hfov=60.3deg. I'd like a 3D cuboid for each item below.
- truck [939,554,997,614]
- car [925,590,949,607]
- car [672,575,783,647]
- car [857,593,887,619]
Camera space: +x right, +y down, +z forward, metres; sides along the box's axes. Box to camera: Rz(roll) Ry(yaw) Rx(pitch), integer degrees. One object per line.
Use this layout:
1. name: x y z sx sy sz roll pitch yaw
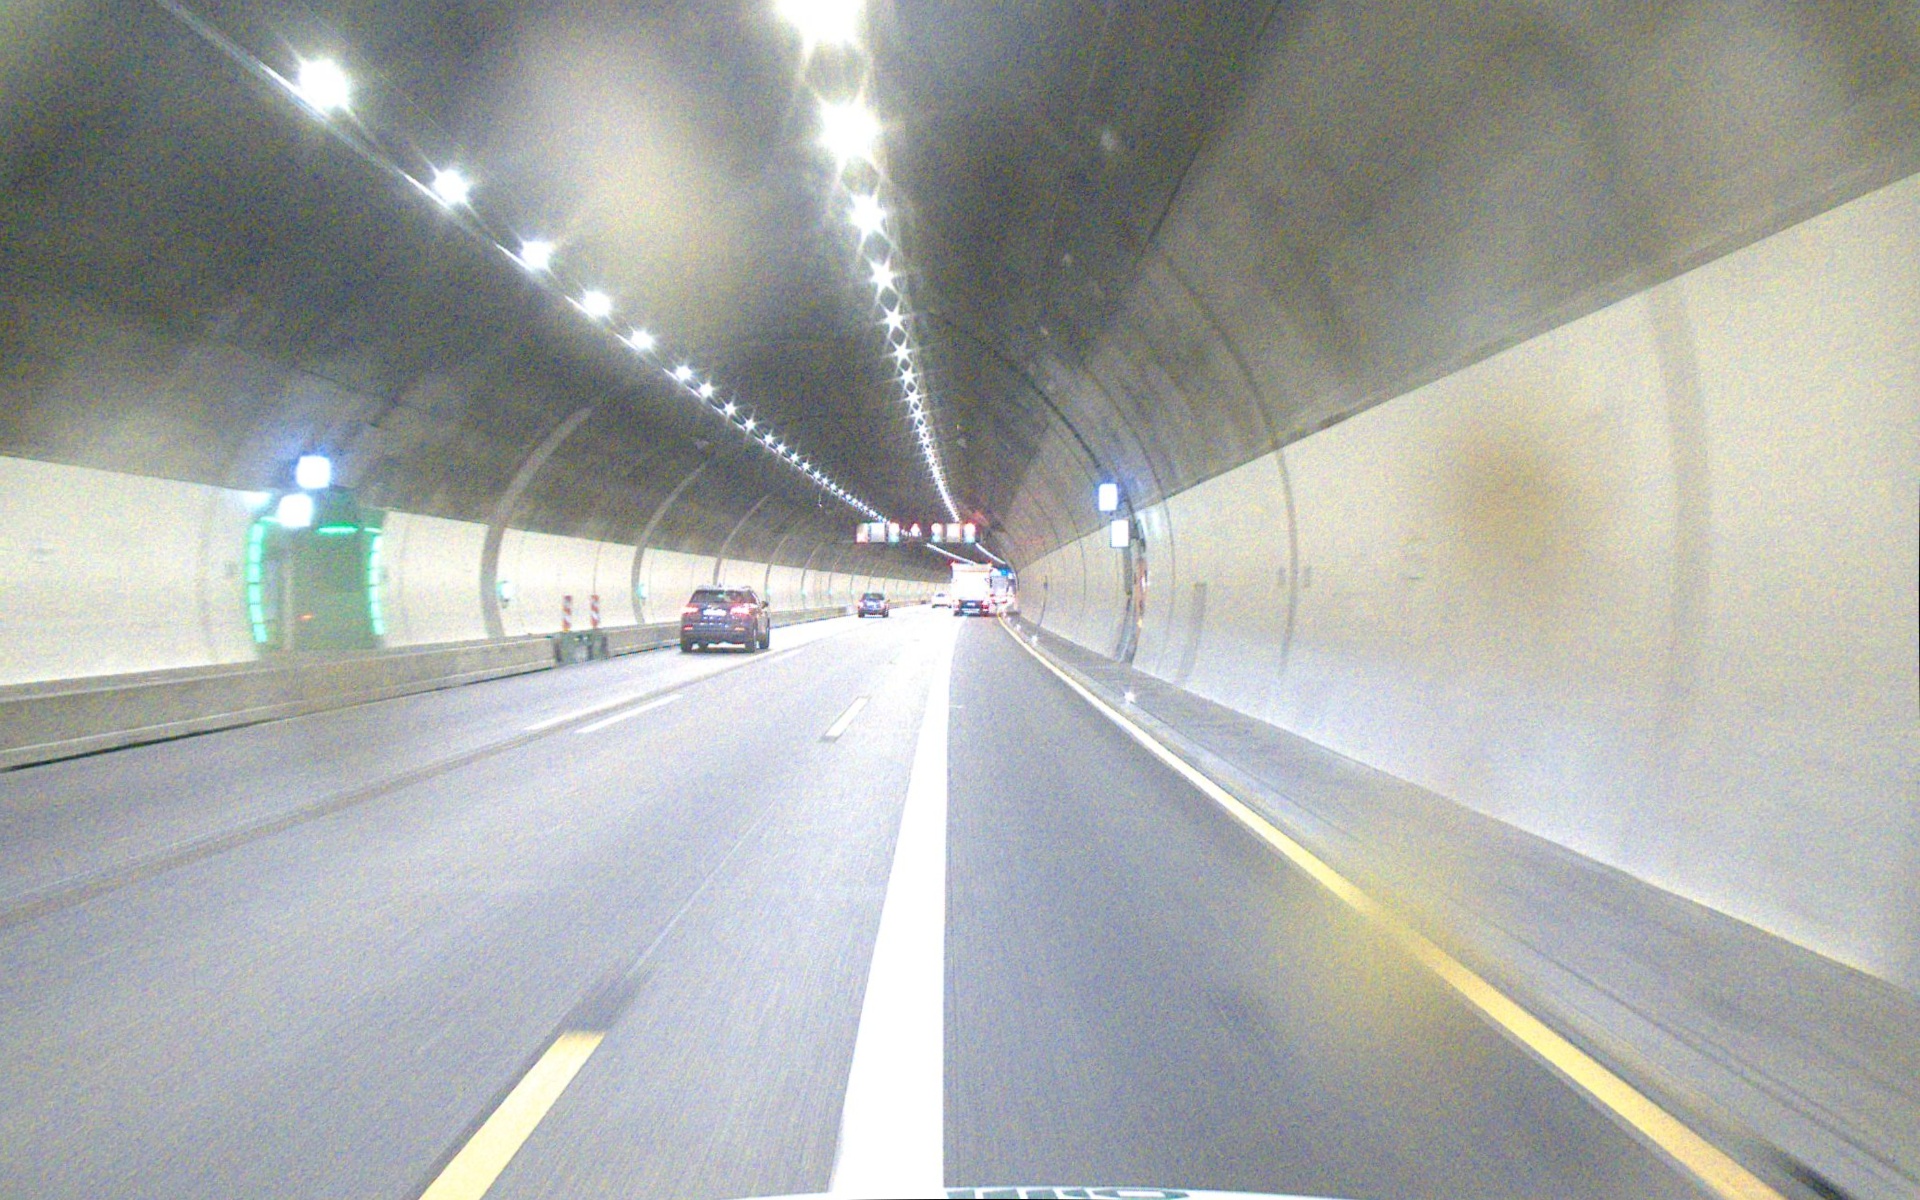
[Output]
1. truck: 0.450 -1.051 113.828 3.520 3.714 10.719 3 0 -1
2. car: -2.140 -0.149 157.666 1.952 1.437 4.744 3 0 2
3. car: -5.695 0.284 41.061 1.953 1.567 4.742 3 -1 1
4. car: -5.161 0.344 97.471 1.655 1.442 3.921 3 0 -3
